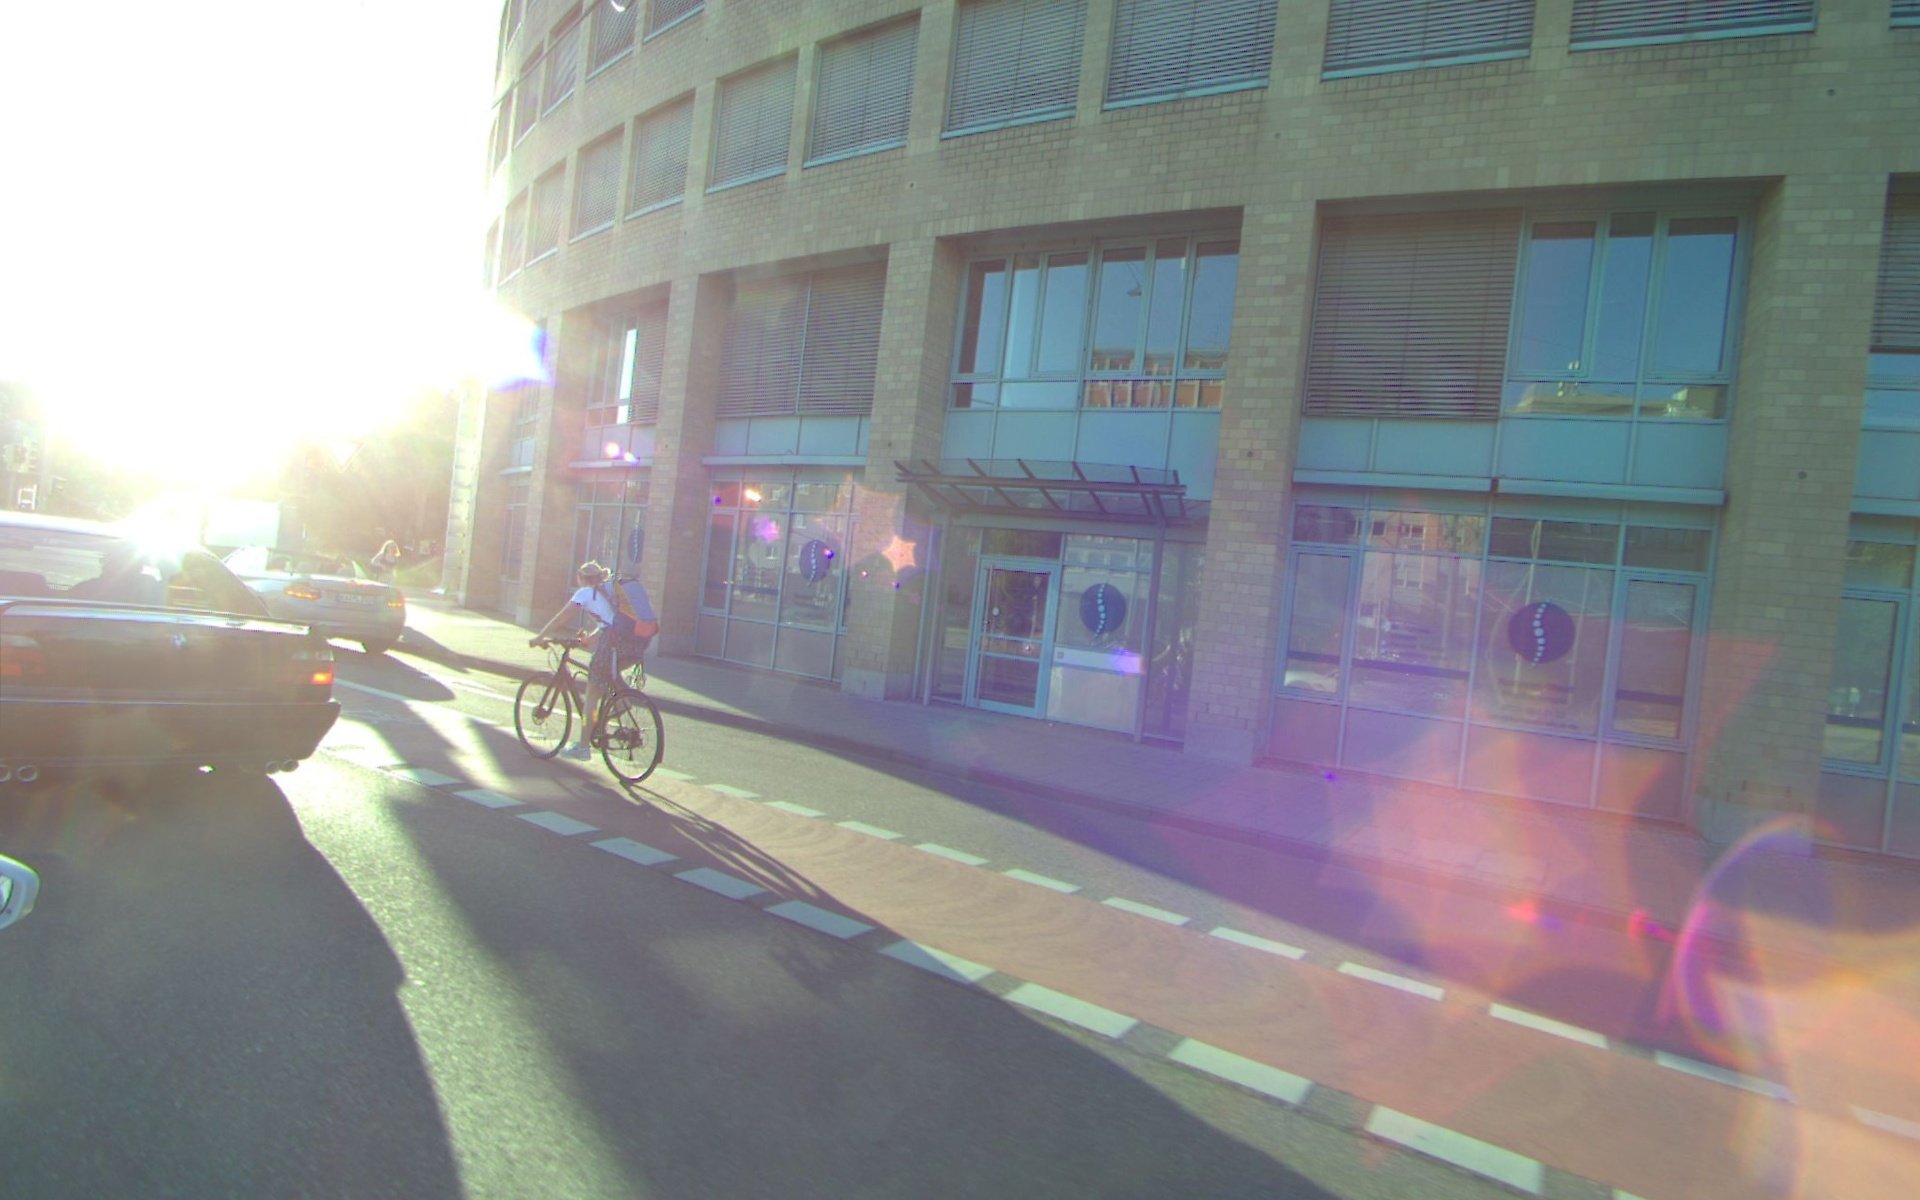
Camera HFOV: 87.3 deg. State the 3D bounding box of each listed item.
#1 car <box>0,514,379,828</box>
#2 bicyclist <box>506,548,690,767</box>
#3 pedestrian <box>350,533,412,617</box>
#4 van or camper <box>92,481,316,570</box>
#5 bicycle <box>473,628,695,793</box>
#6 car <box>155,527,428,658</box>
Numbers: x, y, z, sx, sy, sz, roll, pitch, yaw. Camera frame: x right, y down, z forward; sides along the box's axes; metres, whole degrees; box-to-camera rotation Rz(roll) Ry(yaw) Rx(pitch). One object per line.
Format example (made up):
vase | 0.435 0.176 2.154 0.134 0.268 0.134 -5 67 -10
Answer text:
car | -5.756 0.181 6.161 4.566 1.370 1.833 6 -2 33
bicyclist | -2.768 0.429 7.698 1.020 1.500 0.656 6 -1 31
pedestrian | -11.881 -0.506 20.652 0.787 1.589 0.677 8 2 31
van or camper | -32.065 -3.085 42.962 2.557 2.708 7.045 8 1 35
bicycle | -2.907 0.814 7.711 1.746 0.966 0.516 7 -1 31
car | -10.141 -0.134 15.185 4.196 1.370 1.786 7 -1 32
